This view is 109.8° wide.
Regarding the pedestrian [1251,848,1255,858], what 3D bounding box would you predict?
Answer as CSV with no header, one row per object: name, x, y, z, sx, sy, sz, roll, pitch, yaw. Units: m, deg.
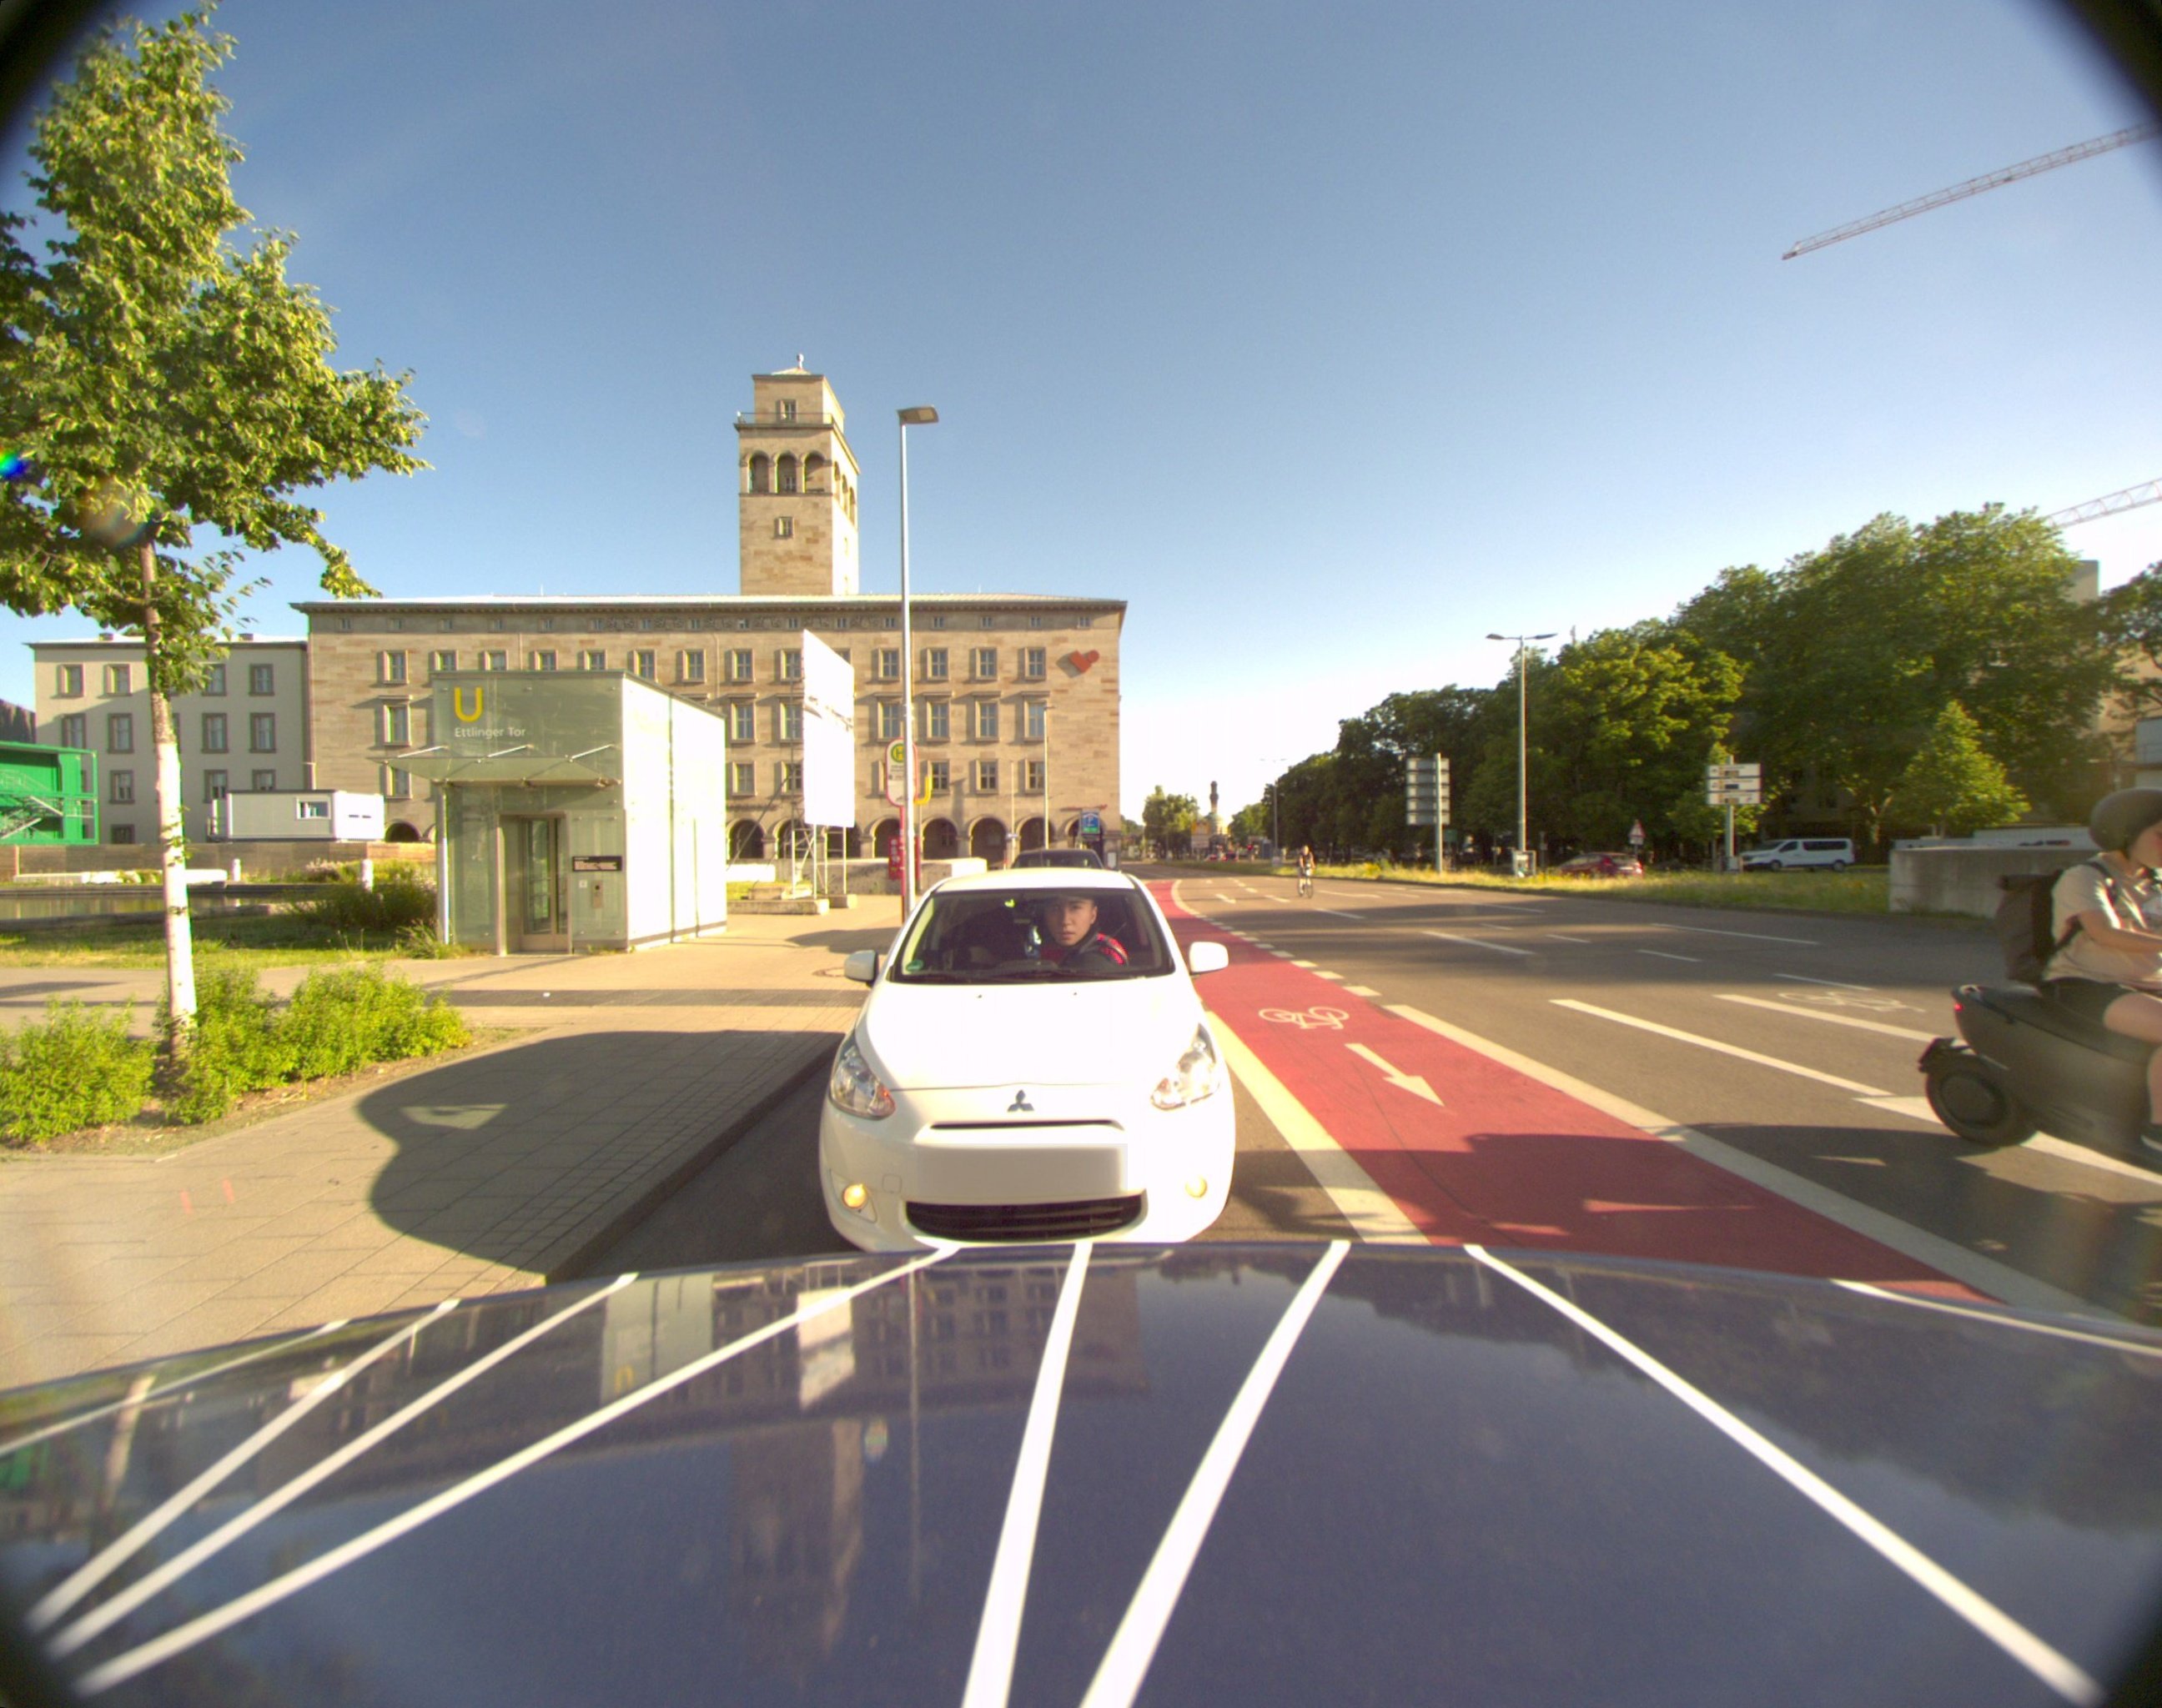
pedestrian,34.576,-0.285,152.652,0.525,2.002,0.594,-1,1,-2

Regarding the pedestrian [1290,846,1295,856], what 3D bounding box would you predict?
pedestrian,40.527,-0.592,145.488,0.697,2.002,0.695,-1,1,-16

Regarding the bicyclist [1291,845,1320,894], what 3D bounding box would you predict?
bicyclist,7.048,0.476,23.862,0.624,1.494,0.938,-2,1,2

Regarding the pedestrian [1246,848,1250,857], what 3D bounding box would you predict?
pedestrian,34.514,-0.330,156.883,0.525,2.002,0.594,-1,1,-2

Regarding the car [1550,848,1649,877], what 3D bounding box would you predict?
car,22.061,0.339,32.502,1.618,1.126,3.770,-2,0,-1

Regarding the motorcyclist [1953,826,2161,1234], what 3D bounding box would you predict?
motorcyclist,4.293,0.627,2.969,0.756,1.475,0.882,-1,1,5

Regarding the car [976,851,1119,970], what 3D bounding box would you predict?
car,-0.494,0.791,13.131,1.999,1.652,4.791,-1,0,0

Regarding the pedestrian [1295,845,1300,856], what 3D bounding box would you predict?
pedestrian,41.537,-0.633,145.556,0.697,2.002,0.695,-1,1,-16

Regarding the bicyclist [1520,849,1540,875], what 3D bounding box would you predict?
bicyclist,24.348,0.423,41.187,0.617,1.359,0.768,-1,1,1

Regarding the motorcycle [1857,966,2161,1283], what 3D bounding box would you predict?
motorcycle,4.303,1.064,2.914,0.756,0.963,1.960,-1,0,5

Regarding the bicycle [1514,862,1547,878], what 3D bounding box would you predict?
bicycle,24.354,0.868,41.206,0.617,0.800,1.980,-1,0,1

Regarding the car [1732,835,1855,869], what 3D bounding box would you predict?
car,42.139,-0.120,45.043,5.325,1.880,2.000,-1,0,2

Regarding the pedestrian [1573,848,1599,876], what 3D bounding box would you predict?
pedestrian,33.222,0.518,49.984,0.997,1.773,0.964,-2,1,1

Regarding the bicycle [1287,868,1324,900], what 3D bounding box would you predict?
bicycle,7.075,0.931,24.006,0.624,0.903,1.910,-2,0,2

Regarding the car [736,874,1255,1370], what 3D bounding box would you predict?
car,-0.257,0.947,4.508,1.660,1.463,3.969,-3,0,1

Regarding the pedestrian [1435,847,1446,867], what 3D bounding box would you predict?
pedestrian,31.845,0.257,67.354,0.664,1.716,0.698,-1,1,0
